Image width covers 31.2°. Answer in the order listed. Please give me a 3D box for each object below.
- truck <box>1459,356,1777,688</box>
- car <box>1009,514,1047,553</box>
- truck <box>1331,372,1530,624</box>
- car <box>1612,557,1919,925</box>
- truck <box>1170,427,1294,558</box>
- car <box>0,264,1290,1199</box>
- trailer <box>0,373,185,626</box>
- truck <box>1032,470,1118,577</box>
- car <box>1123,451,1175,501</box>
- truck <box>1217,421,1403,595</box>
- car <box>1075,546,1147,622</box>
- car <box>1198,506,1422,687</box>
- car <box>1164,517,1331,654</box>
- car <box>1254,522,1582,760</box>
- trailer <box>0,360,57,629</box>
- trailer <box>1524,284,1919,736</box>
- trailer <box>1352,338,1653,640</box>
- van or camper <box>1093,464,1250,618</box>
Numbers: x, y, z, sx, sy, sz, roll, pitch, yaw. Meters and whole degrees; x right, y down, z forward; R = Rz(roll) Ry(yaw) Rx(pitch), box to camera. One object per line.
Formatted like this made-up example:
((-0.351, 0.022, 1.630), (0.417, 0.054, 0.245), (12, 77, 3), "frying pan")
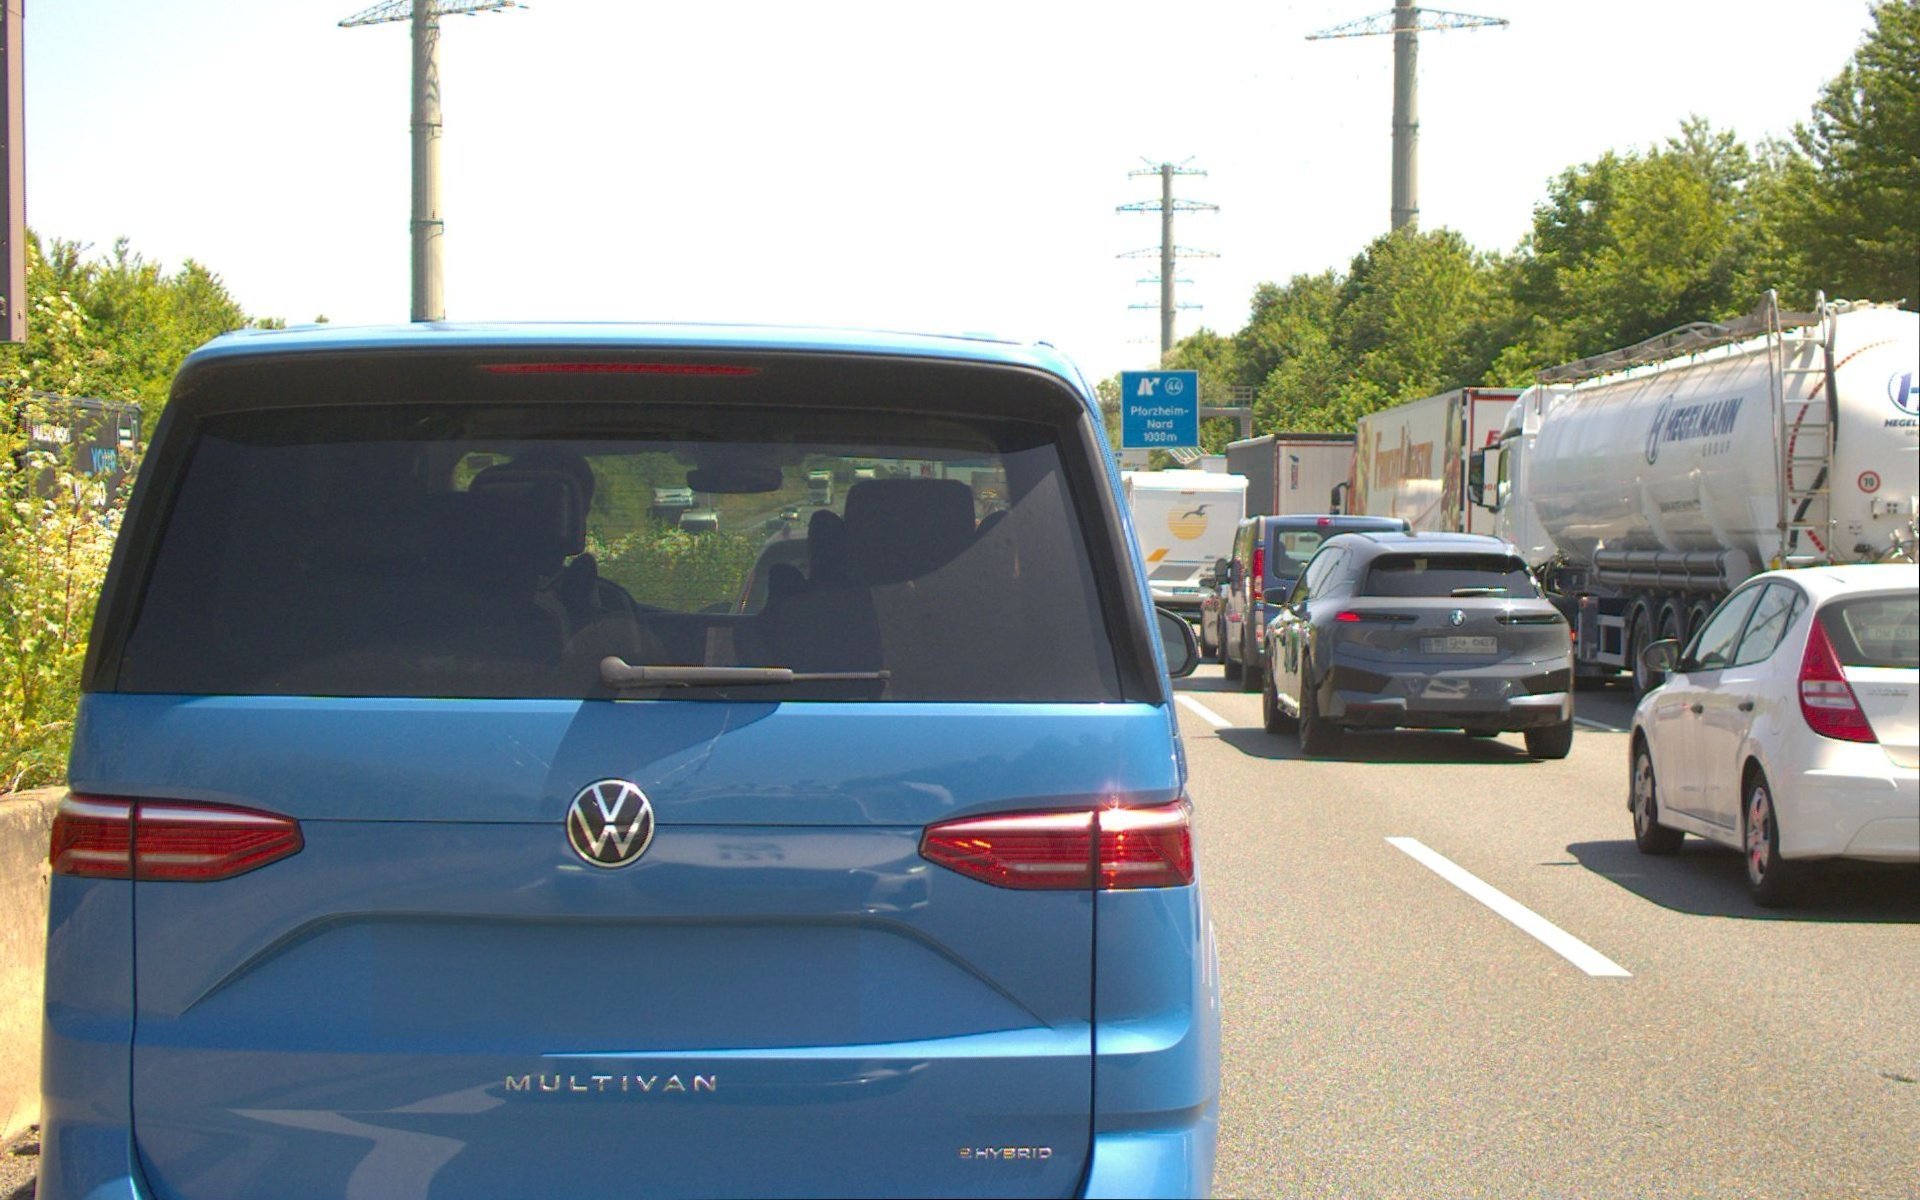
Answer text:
((8.012, -0.938, 42.510), (2.793, 3.823, 5.572), (0, 1, -1), "truck")
((3.749, -3.685, 190.894), (1.993, 2.118, 4.000), (0, 0, -1), "car")
((8.630, -1.849, 63.635), (2.912, 4.453, 5.143), (0, 1, -1), "truck")
((4.263, 0.562, 15.840), (1.817, 1.480, 4.000), (0, 0, 1), "car")
((8.288, -3.196, 106.270), (2.895, 3.753, 13.345), (0, 0, 1), "truck")
((-0.514, 0.445, 6.890), (1.920, 1.880, 4.000), (1, 1, 0), "car")
((-14.948, -1.543, 55.166), (3.182, 3.749, 8.201), (-1, 1, 0), "trailer")
((4.145, -2.721, 125.610), (2.895, 3.753, 10.140), (0, 0, 1), "truck")
((8.109, -5.311, 147.821), (1.993, 2.007, 4.000), (0, 0, 0), "car")
((8.175, -2.059, 82.412), (3.006, 3.753, 15.713), (0, 0, 1), "truck")
((4.082, -0.416, 93.523), (1.836, 1.992, 4.000), (-1, 0, 1), "car")
((3.931, -0.036, 39.288), (1.923, 1.919, 4.236), (-1, 0, -2), "car")
((4.219, -0.206, 51.079), (1.923, 1.919, 4.236), (-1, 0, -2), "car")
((3.508, 0.293, 27.144), (1.999, 1.709, 4.625), (0, 0, 1), "car")
((-14.962, -1.457, 47.214), (3.124, 3.746, 7.870), (0, 1, -1), "trailer")
((8.126, -0.840, 34.944), (2.761, 3.831, 11.487), (0, 1, -1), "trailer")
((8.729, -1.726, 56.993), (2.912, 4.453, 12.155), (0, 1, -1), "trailer")
((4.302, -1.186, 71.159), (2.957, 3.011, 7.102), (0, 0, 1), "van or camper")
